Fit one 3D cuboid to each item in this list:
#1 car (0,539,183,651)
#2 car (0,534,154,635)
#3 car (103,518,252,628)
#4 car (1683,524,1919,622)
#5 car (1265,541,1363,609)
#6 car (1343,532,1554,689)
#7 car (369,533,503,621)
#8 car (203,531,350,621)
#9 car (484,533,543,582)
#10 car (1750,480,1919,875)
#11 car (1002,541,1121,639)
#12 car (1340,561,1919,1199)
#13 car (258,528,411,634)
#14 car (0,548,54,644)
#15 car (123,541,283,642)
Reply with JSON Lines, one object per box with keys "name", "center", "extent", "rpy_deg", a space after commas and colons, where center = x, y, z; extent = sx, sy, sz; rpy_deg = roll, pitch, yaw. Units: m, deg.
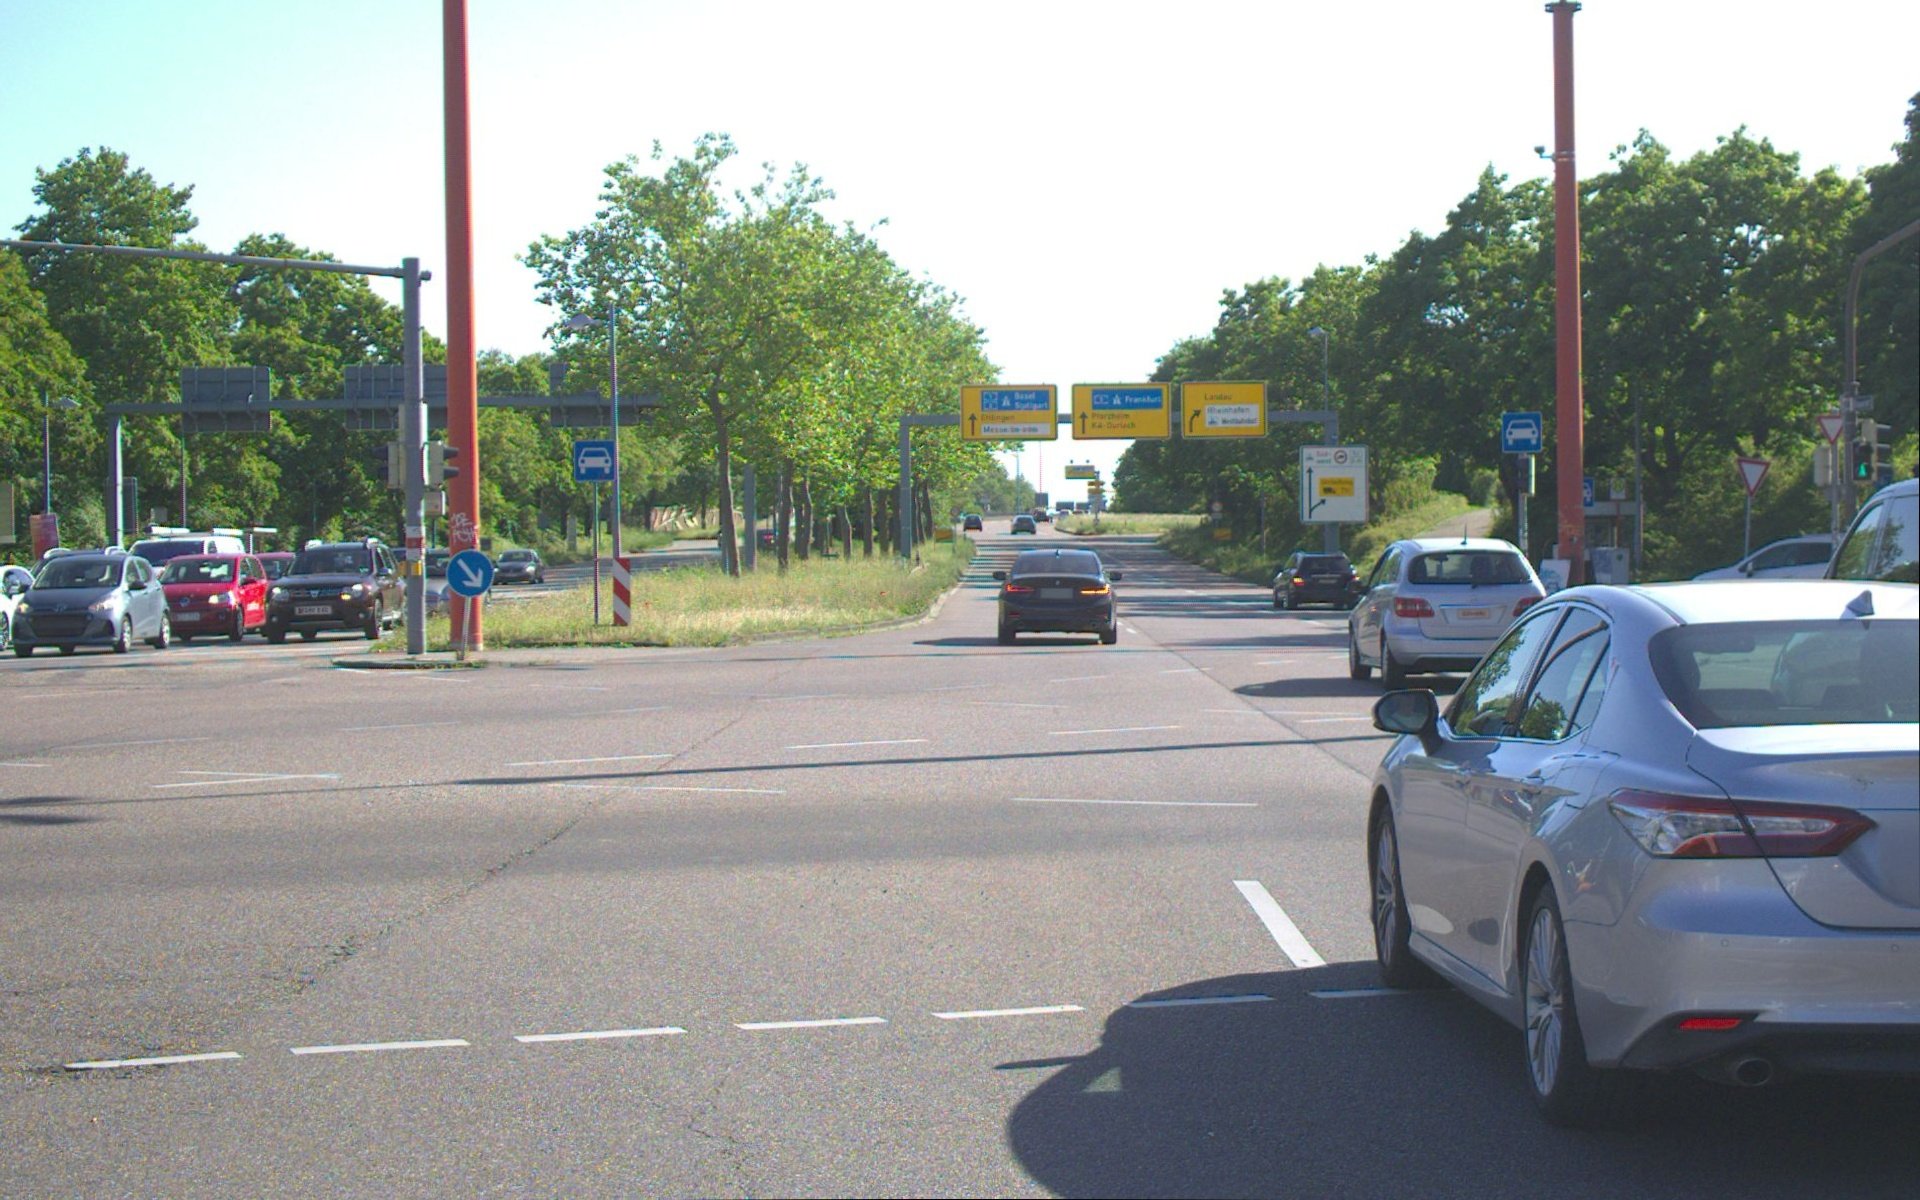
{"name": "car", "center": [-13.219, -0.106, 52.284], "extent": [1.874, 1.545, 4.028], "rpy_deg": [-2, 1, -1]}
{"name": "car", "center": [-16.400, -0.314, 63.765], "extent": [1.874, 1.778, 4.000], "rpy_deg": [-1, 1, 1]}
{"name": "car", "center": [-16.069, -0.576, 70.823], "extent": [1.961, 2.147, 5.082], "rpy_deg": [-1, 1, -1]}
{"name": "car", "center": [14.870, -0.470, 59.452], "extent": [4.294, 1.629, 1.766], "rpy_deg": [0, 1, 39]}
{"name": "car", "center": [8.740, -0.624, 85.199], "extent": [1.763, 1.630, 4.299], "rpy_deg": [1, 1, -3]}
{"name": "car", "center": [5.270, 0.090, 37.477], "extent": [1.716, 1.602, 3.847], "rpy_deg": [1, 1, 0]}
{"name": "car", "center": [-9.690, -0.452, 63.839], "extent": [1.885, 1.538, 4.000], "rpy_deg": [-2, 1, -1]}
{"name": "car", "center": [-12.807, -0.462, 64.619], "extent": [1.901, 1.624, 4.000], "rpy_deg": [0, 1, 1]}
{"name": "car", "center": [-18.497, -1.765, 142.561], "extent": [1.920, 1.992, 4.604], "rpy_deg": [-1, 1, -1]}
{"name": "car", "center": [5.366, 0.334, 16.786], "extent": [1.804, 1.845, 5.103], "rpy_deg": [-1, 1, 0]}
{"name": "car", "center": [1.568, -0.172, 53.775], "extent": [1.764, 1.436, 4.295], "rpy_deg": [1, 1, 1]}
{"name": "car", "center": [2.374, 0.642, 10.387], "extent": [1.804, 1.488, 4.683], "rpy_deg": [1, 1, -1]}
{"name": "car", "center": [-10.214, -0.335, 56.360], "extent": [1.793, 1.620, 4.144], "rpy_deg": [-2, 1, -1]}
{"name": "car", "center": [-16.533, -0.058, 57.275], "extent": [1.901, 1.549, 4.000], "rpy_deg": [-1, 1, -2]}
{"name": "car", "center": [-12.868, -0.166, 58.622], "extent": [1.875, 1.547, 4.000], "rpy_deg": [-3, 1, -2]}
